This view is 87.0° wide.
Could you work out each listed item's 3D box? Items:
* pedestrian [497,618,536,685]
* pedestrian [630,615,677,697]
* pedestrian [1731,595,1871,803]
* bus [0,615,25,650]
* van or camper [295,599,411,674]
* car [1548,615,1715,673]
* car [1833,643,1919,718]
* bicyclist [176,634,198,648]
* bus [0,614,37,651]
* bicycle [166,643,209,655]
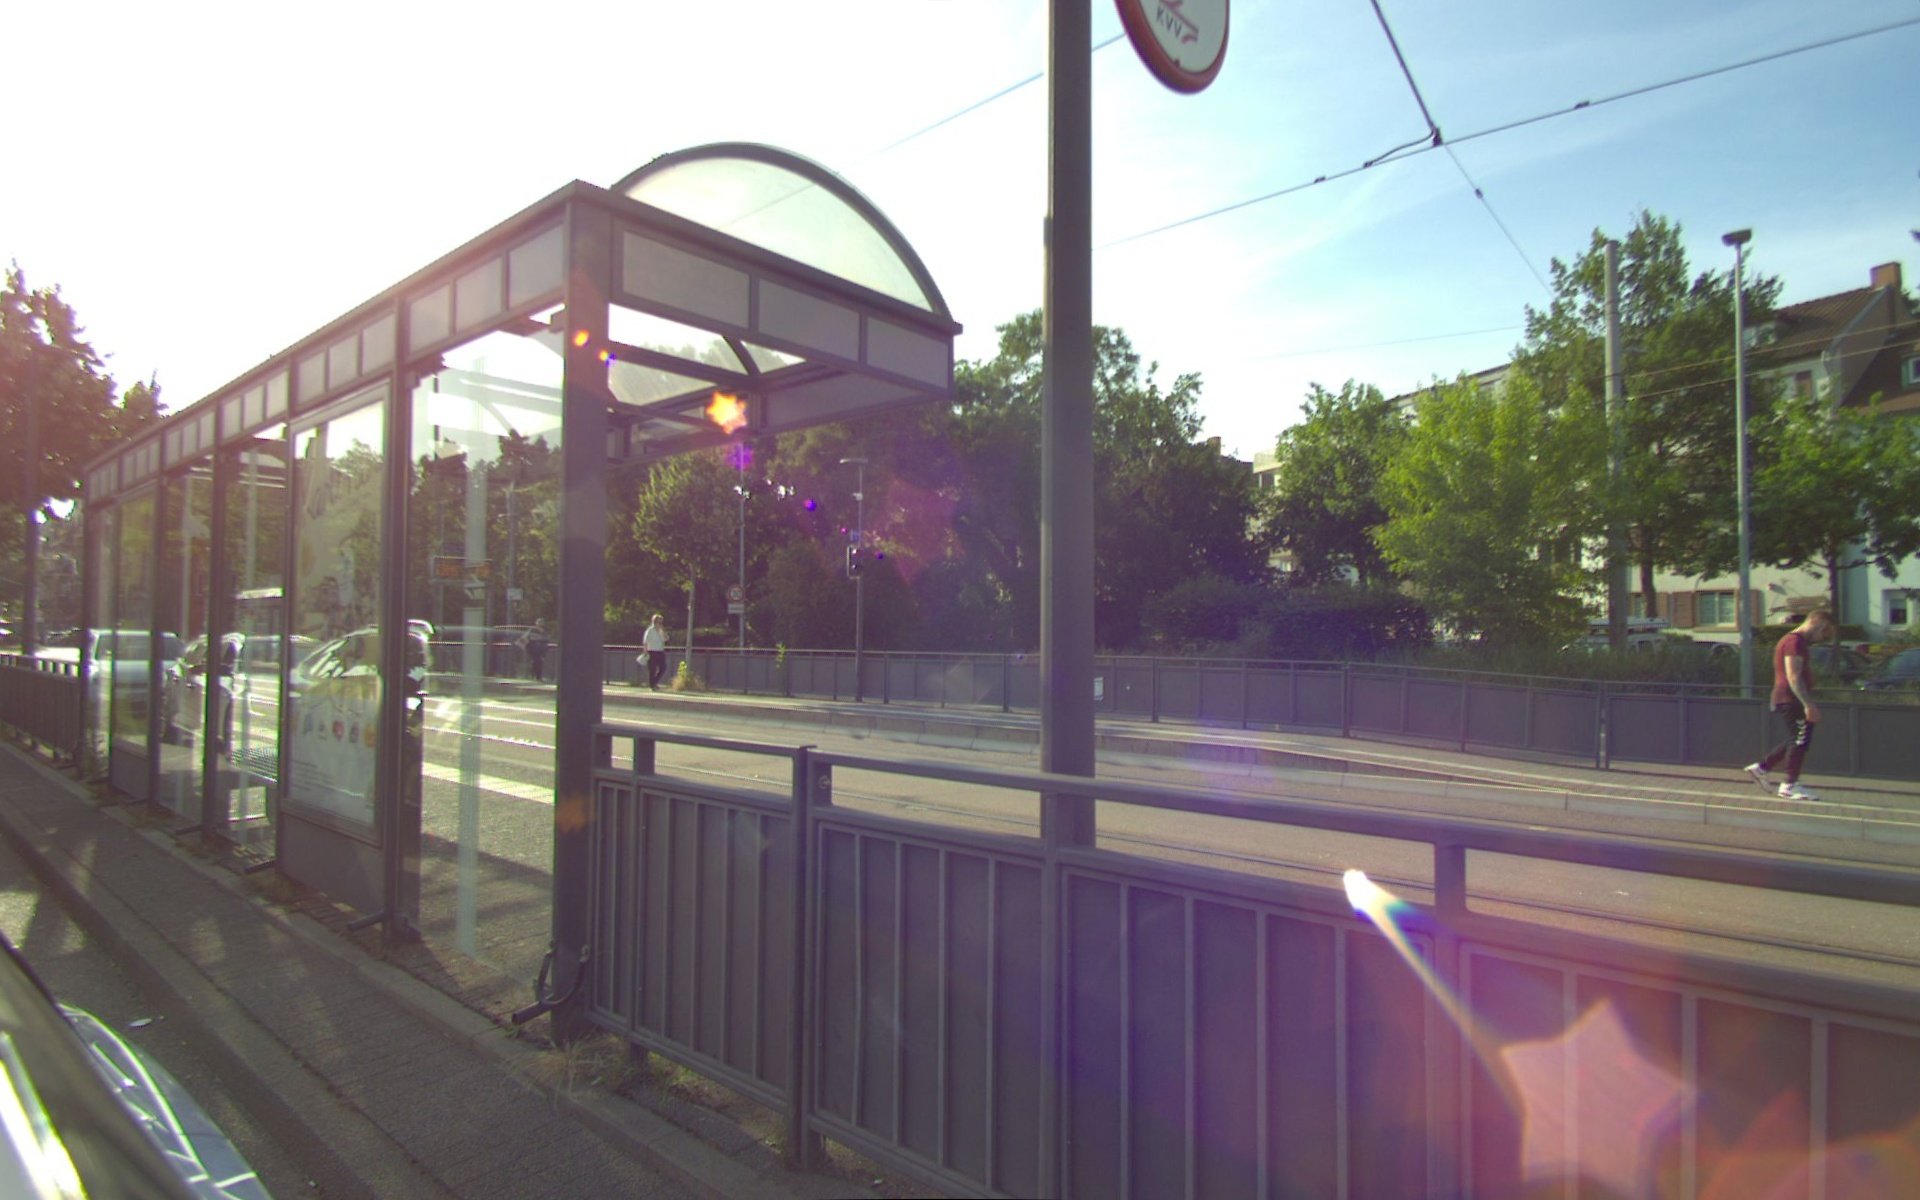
[{"bbox_3d":[-11.560,1.348,26.387,0.618,1.697,0.613,-2,-6,41],"label":"pedestrian"},{"bbox_3d":[-6.548,1.197,21.636,0.618,1.697,0.613,-2,-6,41],"label":"pedestrian"},{"bbox_3d":[7.277,0.835,8.781,0.877,1.697,0.547,-2,-6,41],"label":"pedestrian"},{"bbox_3d":[-100.898,3.373,106.711,9.258,3.461,2.405,-1,0,41],"label":"bus"},{"bbox_3d":[-26.308,1.503,43.739,6.408,2.990,2.494,-1,0,41],"label":"van or camper"},{"bbox_3d":[18.219,1.197,27.483,3.930,1.497,1.854,1,-3,-22],"label":"car"},{"bbox_3d":[19.639,1.599,20.610,3.935,1.409,2.004,2,-3,-37],"label":"car"},{"bbox_3d":[-58.285,3.119,76.266,0.671,1.032,1.201,-2,-3,43],"label":"bicyclist"},{"bbox_3d":[-93.972,3.173,100.566,9.258,3.461,2.405,-1,0,41],"label":"bus"},{"bbox_3d":[-58.296,3.717,76.349,0.631,0.888,2.502,-2,-3,45],"label":"bicycle"}]
